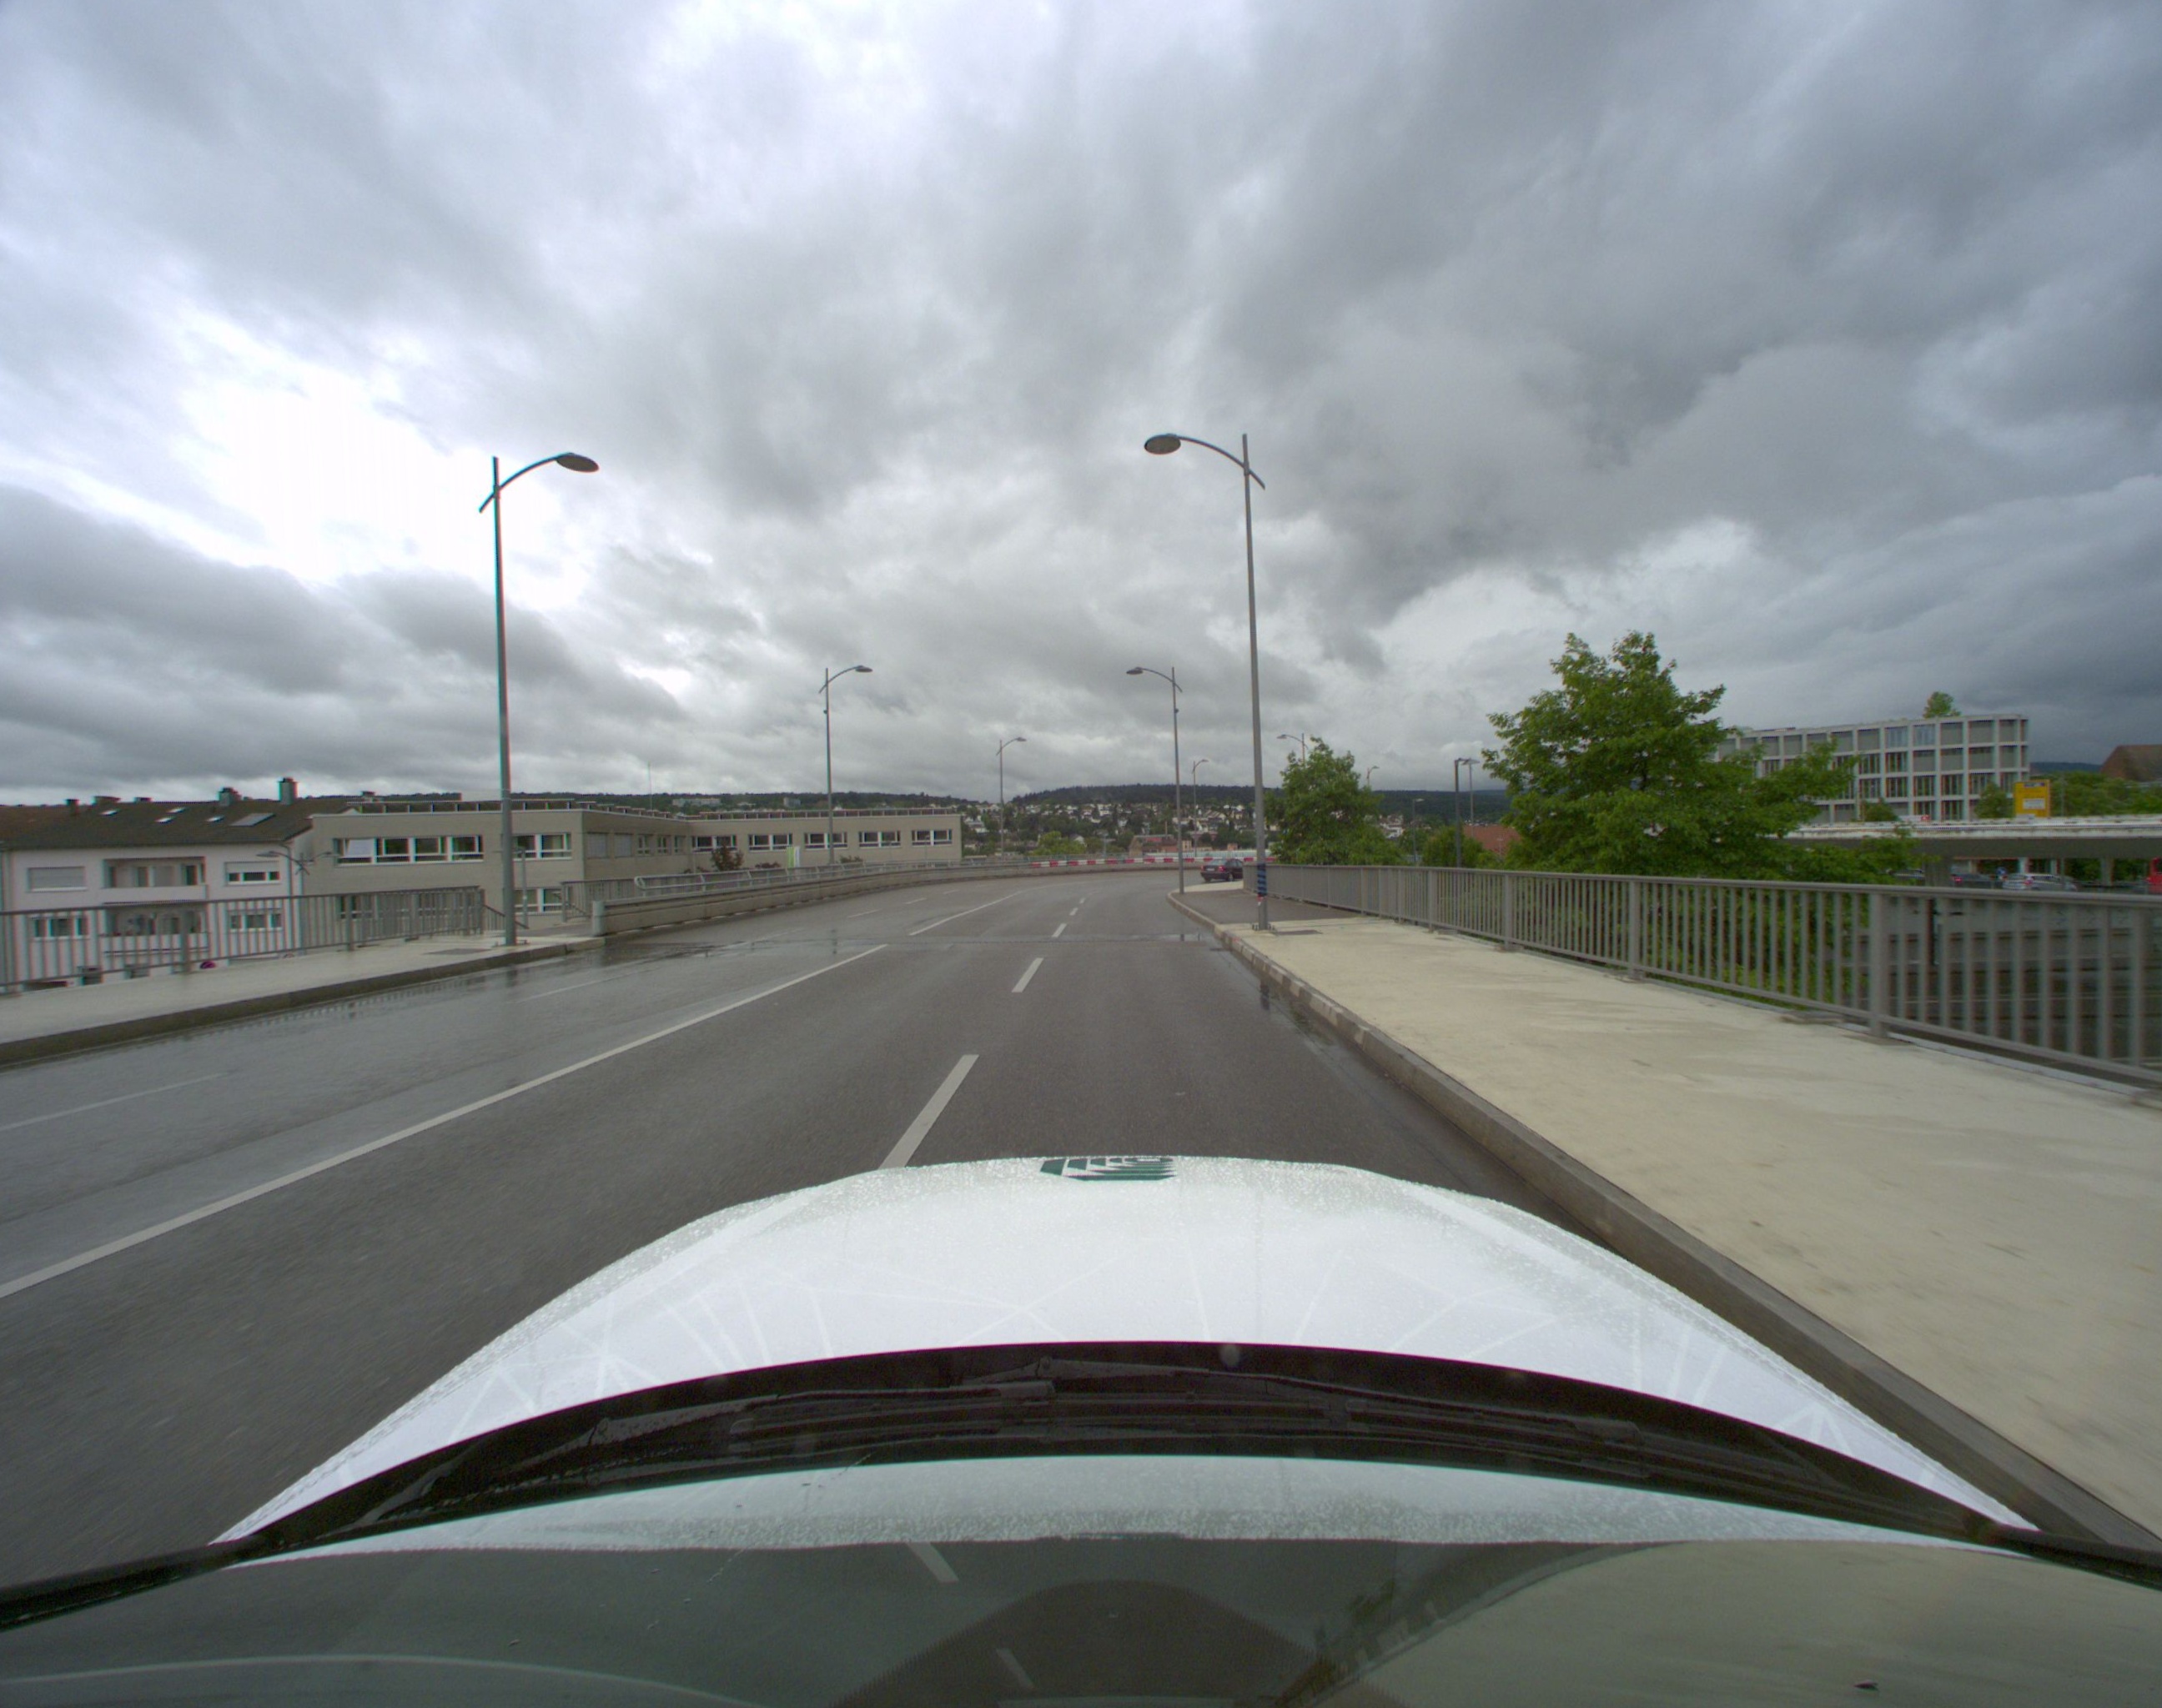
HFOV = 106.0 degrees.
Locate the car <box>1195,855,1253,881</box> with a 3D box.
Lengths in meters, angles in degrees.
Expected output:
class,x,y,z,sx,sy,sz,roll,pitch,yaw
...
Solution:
class,x,y,z,sx,sy,sz,roll,pitch,yaw
car,8.619,0.809,48.859,1.690,1.419,3.748,-1,0,42
